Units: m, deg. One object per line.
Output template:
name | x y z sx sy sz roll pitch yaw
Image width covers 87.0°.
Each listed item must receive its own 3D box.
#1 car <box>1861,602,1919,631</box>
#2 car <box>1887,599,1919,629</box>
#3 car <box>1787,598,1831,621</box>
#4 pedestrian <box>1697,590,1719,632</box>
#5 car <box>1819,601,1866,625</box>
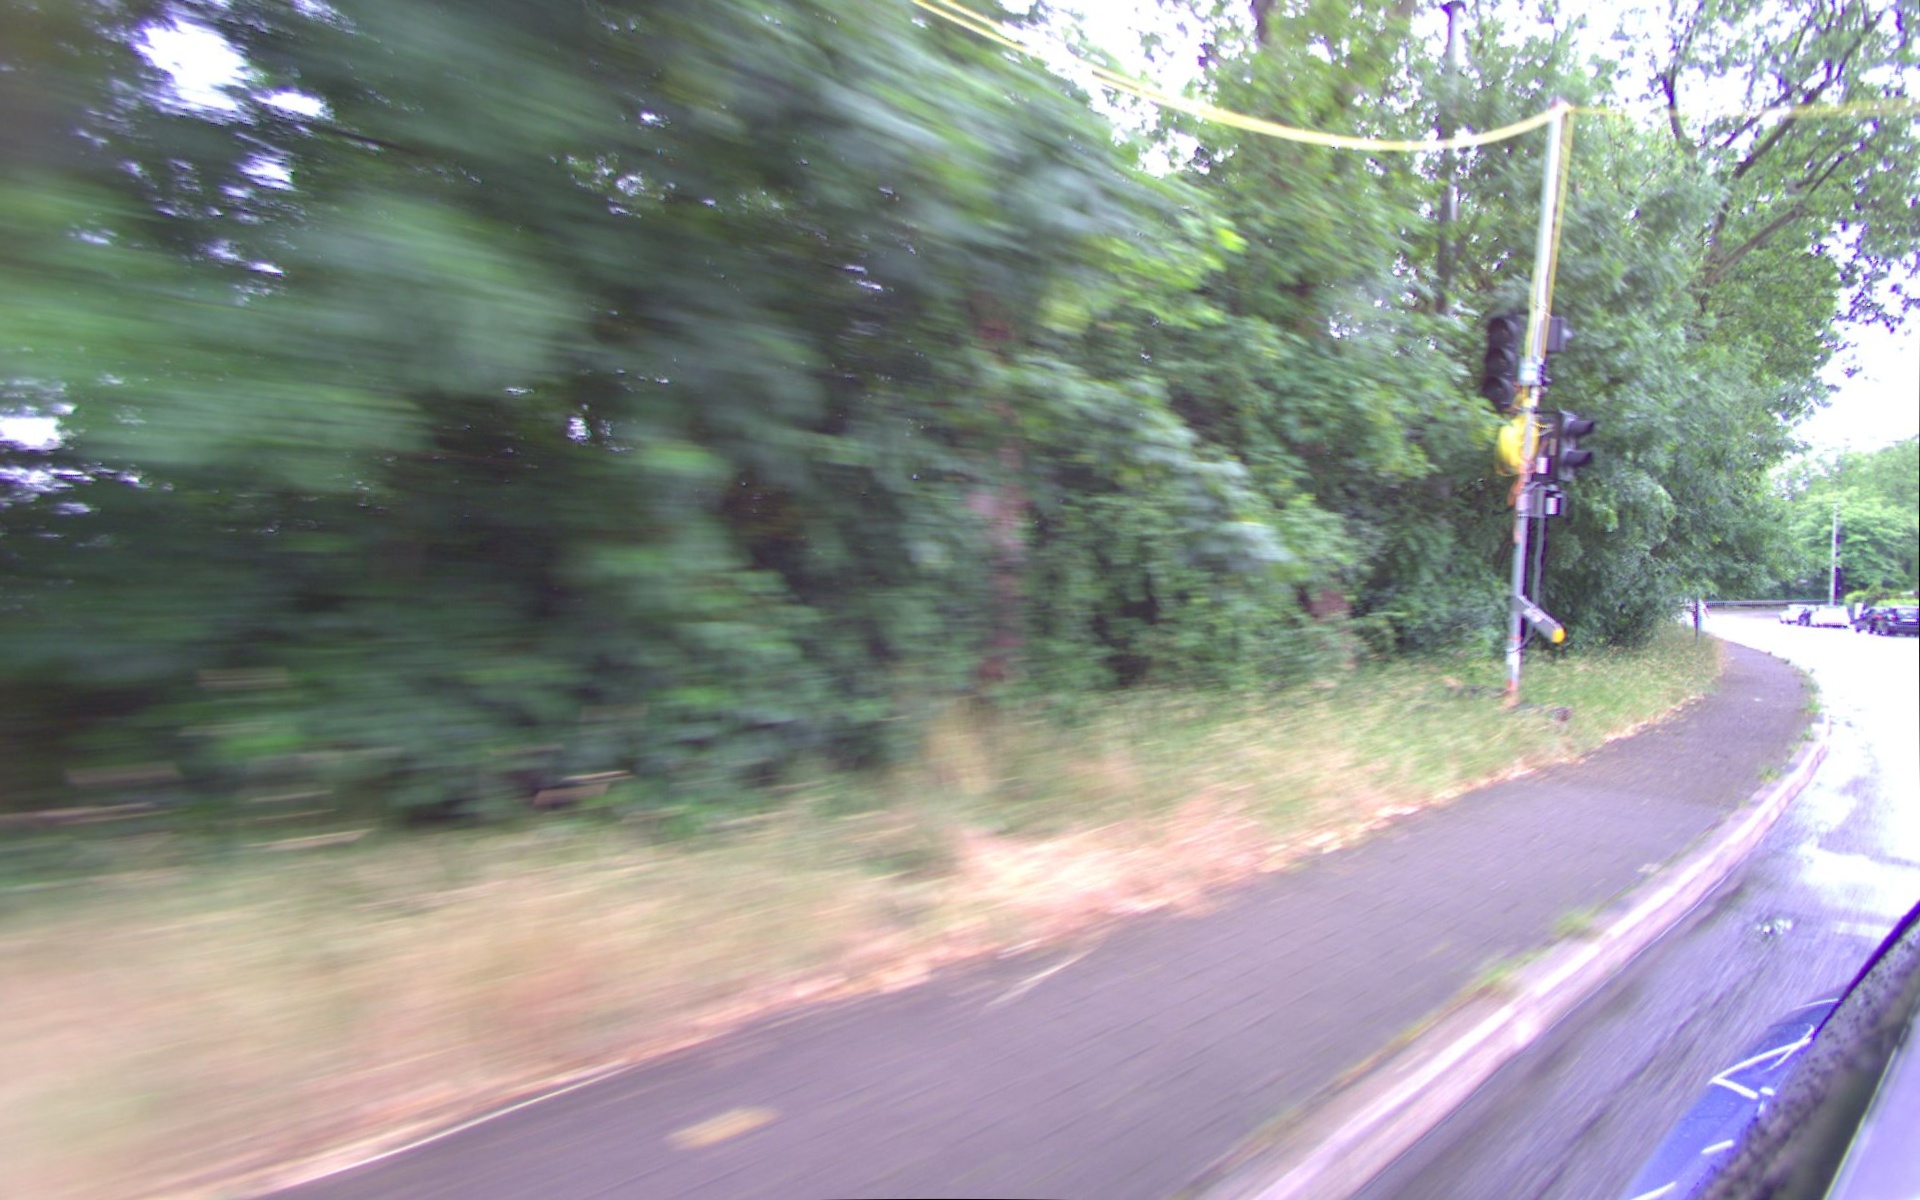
car | 50.117 0.846 54.364 1.679 1.436 4.170 3 1 30
car | 47.809 0.707 50.672 1.513 1.472 2.993 3 1 33
car | 63.267 0.676 75.460 1.723 1.439 4.239 -4 0 30
pedestrian | 30.150 0.433 40.819 0.639 1.631 0.662 1 1 32
car | 58.202 0.833 66.810 1.690 1.486 3.670 1 1 31
